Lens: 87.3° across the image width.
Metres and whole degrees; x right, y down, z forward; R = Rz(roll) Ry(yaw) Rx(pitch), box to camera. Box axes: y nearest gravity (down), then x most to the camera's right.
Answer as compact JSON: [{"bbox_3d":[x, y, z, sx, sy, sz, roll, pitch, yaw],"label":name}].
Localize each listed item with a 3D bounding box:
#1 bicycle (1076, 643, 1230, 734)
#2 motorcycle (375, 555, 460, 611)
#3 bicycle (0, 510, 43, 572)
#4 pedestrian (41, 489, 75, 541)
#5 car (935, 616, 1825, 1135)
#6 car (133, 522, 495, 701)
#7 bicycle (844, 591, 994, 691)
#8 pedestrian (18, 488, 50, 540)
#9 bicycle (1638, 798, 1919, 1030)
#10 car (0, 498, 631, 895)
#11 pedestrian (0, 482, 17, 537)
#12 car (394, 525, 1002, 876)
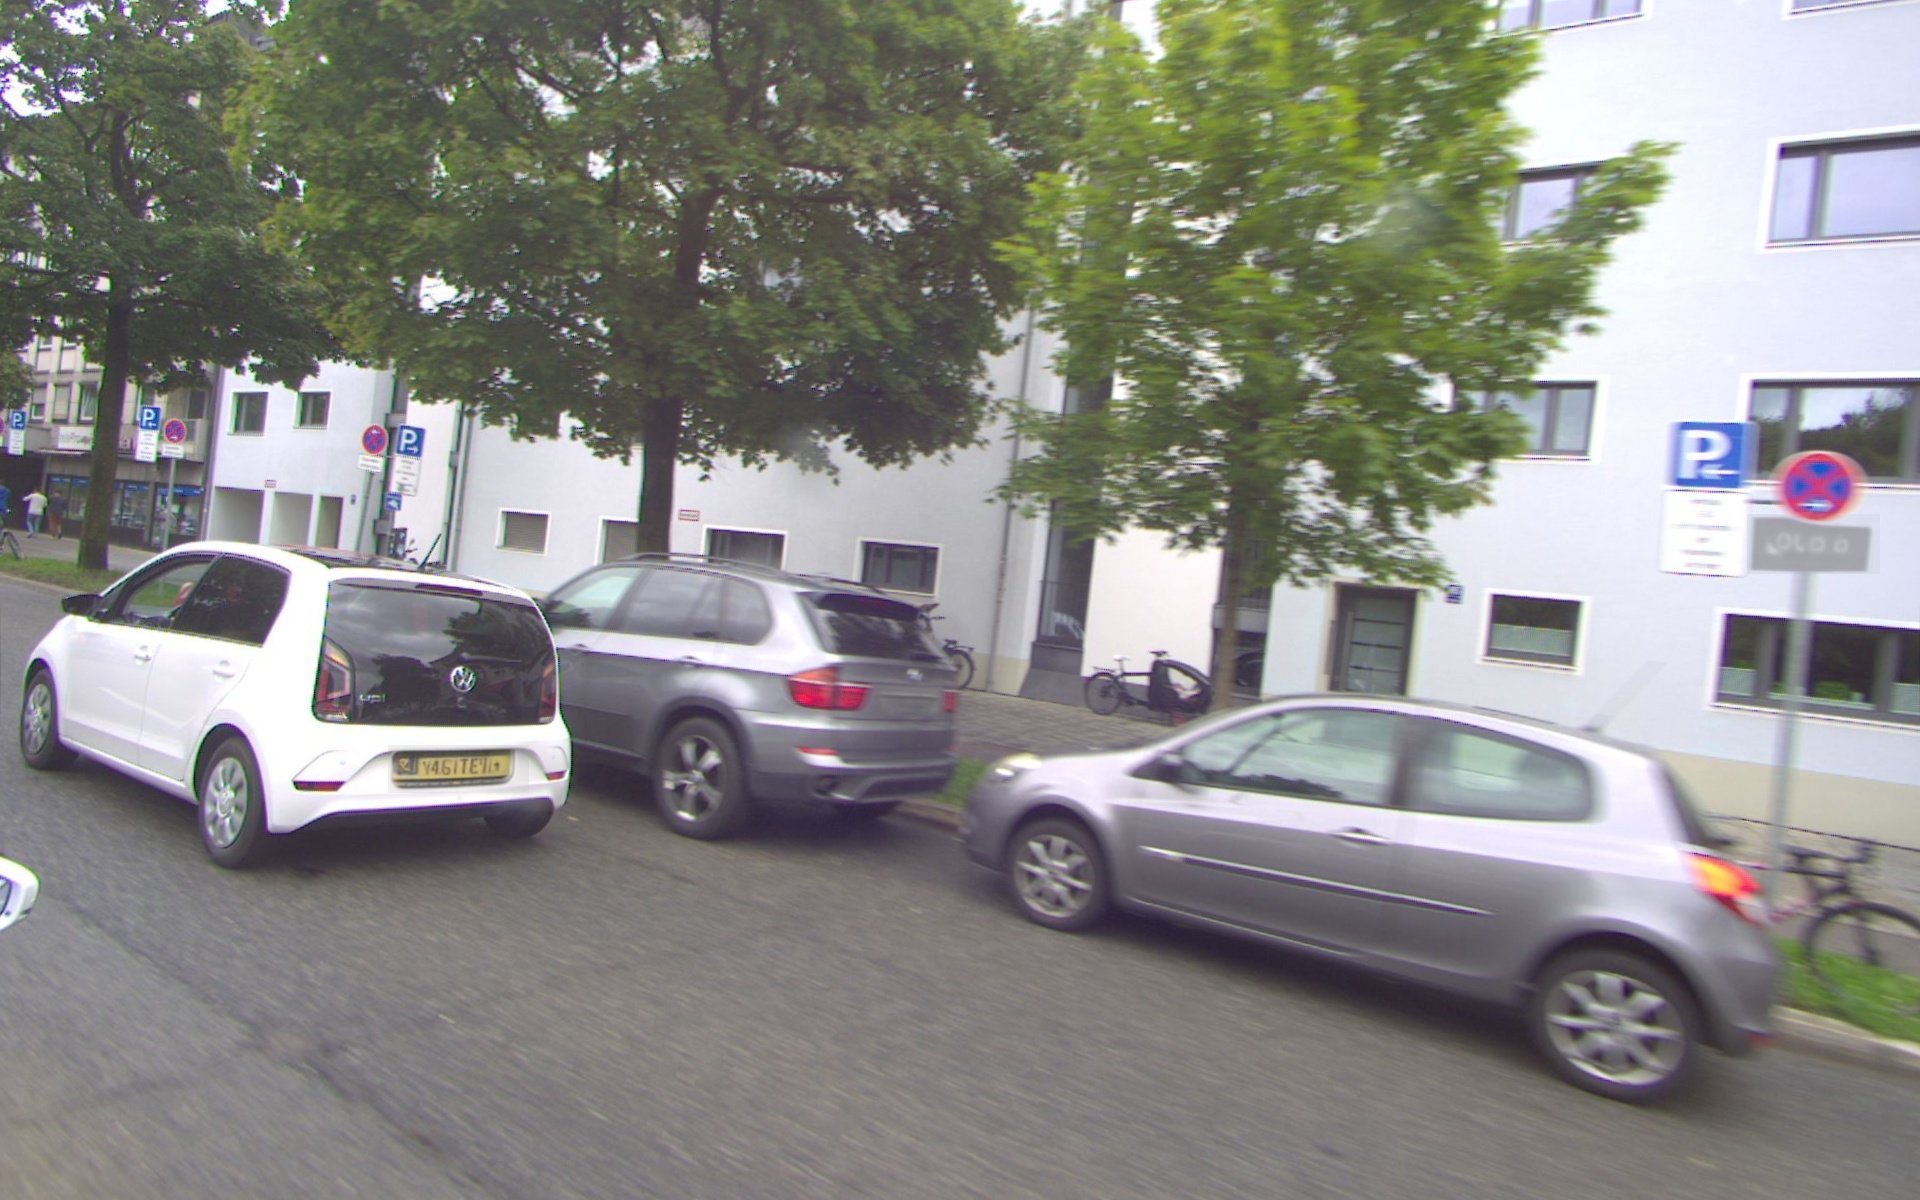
[{"bbox_3d":[2.922,1.313,15.380,2.159,1.061,0.621,7,4,32],"label":"bicycle"},{"bbox_3d":[-13.201,-0.413,24.479,2.163,1.099,0.762,7,0,32],"label":"motorcycle"},{"bbox_3d":[-21.482,-1.380,22.331,2.108,1.271,0.456,7,0,13],"label":"bicycle"},{"bbox_3d":[-30.883,-2.919,34.440,0.712,1.660,0.542,7,0,31],"label":"pedestrian"},{"bbox_3d":[1.986,1.119,5.483,3.707,1.540,1.833,7,-1,30],"label":"car"},{"bbox_3d":[-7.276,0.103,11.271,3.929,1.458,1.525,7,0,27],"label":"car"},{"bbox_3d":[-0.751,0.697,17.651,2.550,1.426,0.703,7,2,32],"label":"bicycle"},{"bbox_3d":[-30.997,-2.884,33.691,0.630,1.650,0.549,7,2,31],"label":"pedestrian"},{"bbox_3d":[4.906,1.780,5.708,1.647,0.958,0.386,7,0,32],"label":"bicycle"},{"bbox_3d":[-3.798,0.386,5.804,3.377,1.508,1.689,7,-1,31],"label":"car"},{"bbox_3d":[-31.413,-2.985,32.931,0.720,1.754,0.500,7,0,31],"label":"pedestrian"},{"bbox_3d":[-2.133,0.565,7.724,4.434,1.767,1.832,7,-1,32],"label":"car"}]
